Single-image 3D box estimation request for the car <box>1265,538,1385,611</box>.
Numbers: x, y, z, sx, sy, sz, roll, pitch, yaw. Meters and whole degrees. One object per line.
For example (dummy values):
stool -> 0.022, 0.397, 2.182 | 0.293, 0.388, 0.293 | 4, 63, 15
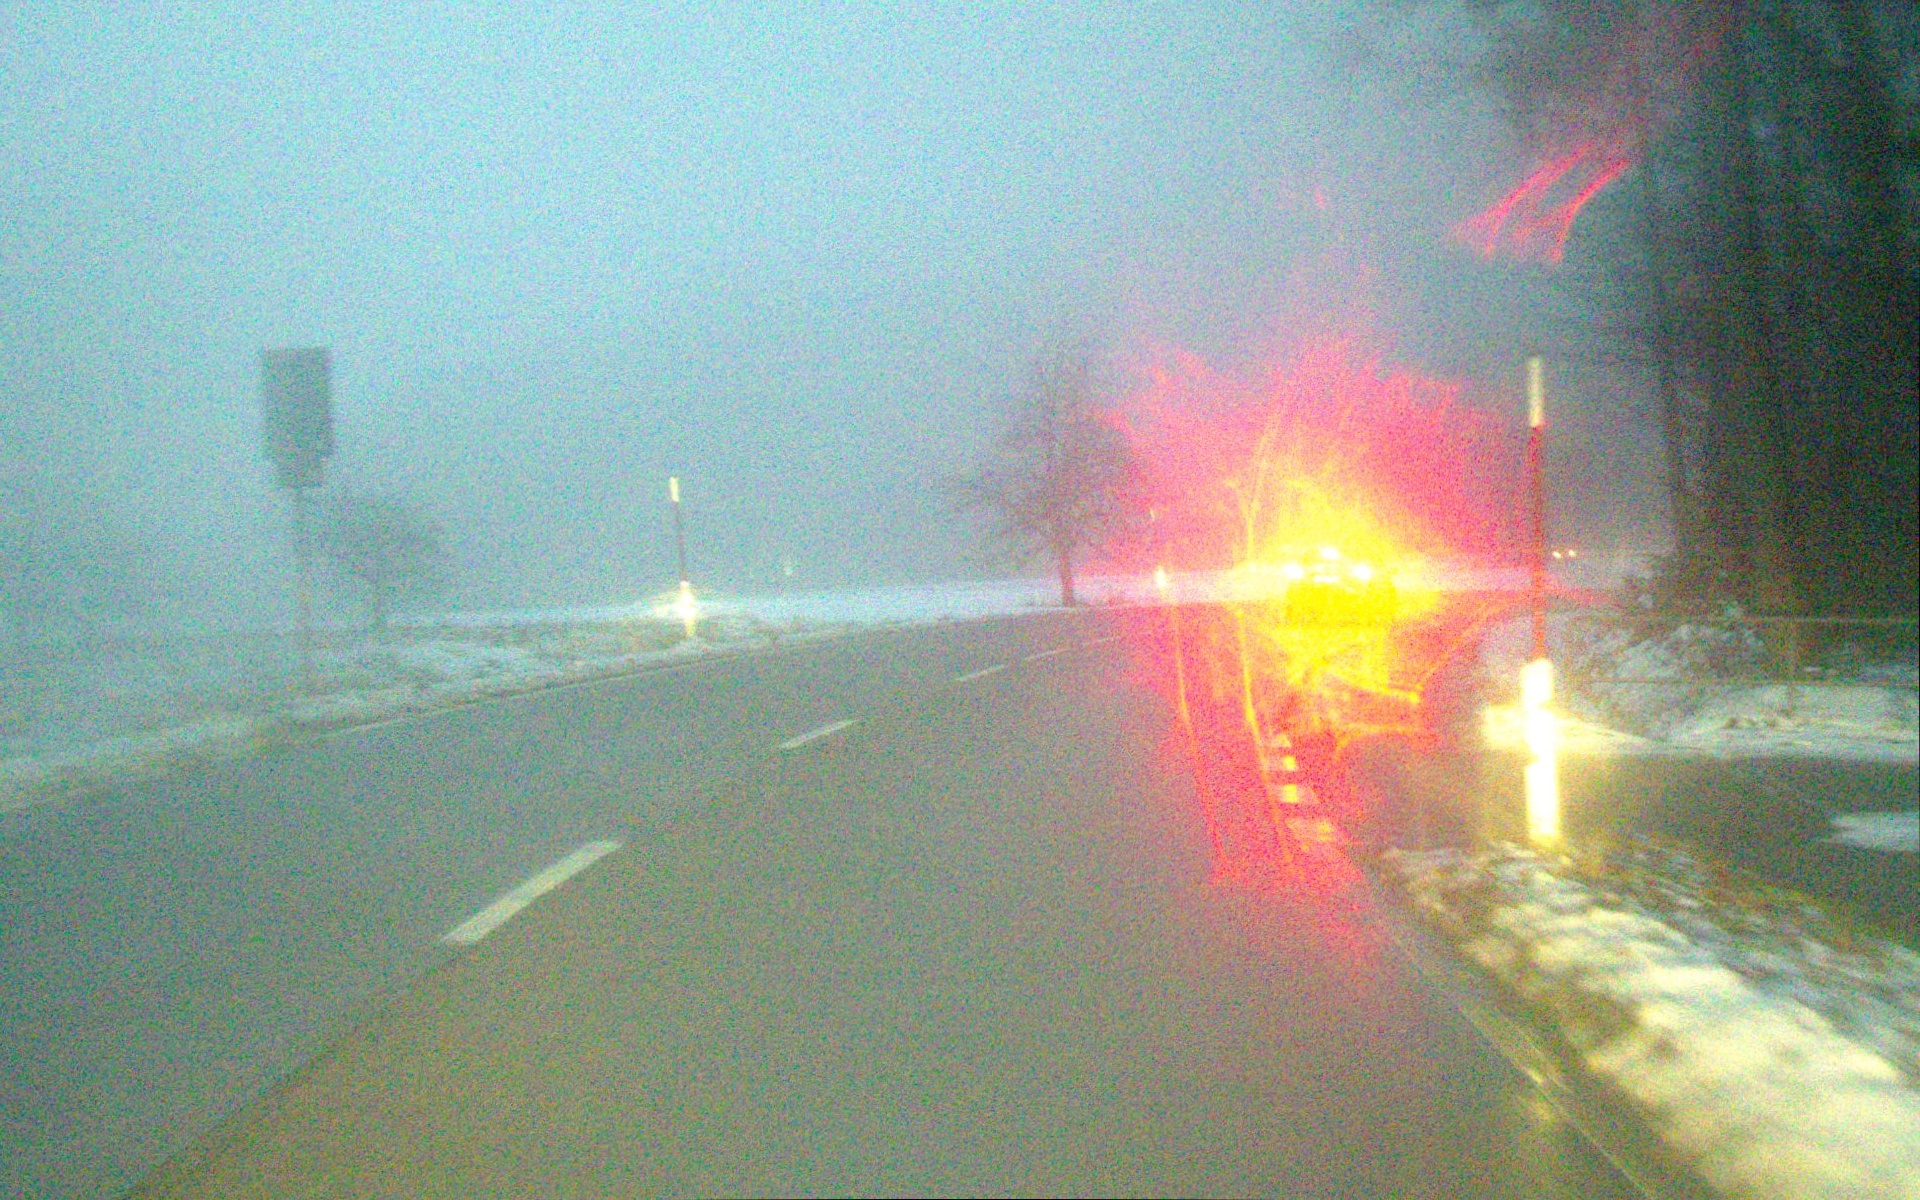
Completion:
car -> 7.164, -0.522, 67.146 | 1.923, 1.272, 3.998 | -1, 2, 12
